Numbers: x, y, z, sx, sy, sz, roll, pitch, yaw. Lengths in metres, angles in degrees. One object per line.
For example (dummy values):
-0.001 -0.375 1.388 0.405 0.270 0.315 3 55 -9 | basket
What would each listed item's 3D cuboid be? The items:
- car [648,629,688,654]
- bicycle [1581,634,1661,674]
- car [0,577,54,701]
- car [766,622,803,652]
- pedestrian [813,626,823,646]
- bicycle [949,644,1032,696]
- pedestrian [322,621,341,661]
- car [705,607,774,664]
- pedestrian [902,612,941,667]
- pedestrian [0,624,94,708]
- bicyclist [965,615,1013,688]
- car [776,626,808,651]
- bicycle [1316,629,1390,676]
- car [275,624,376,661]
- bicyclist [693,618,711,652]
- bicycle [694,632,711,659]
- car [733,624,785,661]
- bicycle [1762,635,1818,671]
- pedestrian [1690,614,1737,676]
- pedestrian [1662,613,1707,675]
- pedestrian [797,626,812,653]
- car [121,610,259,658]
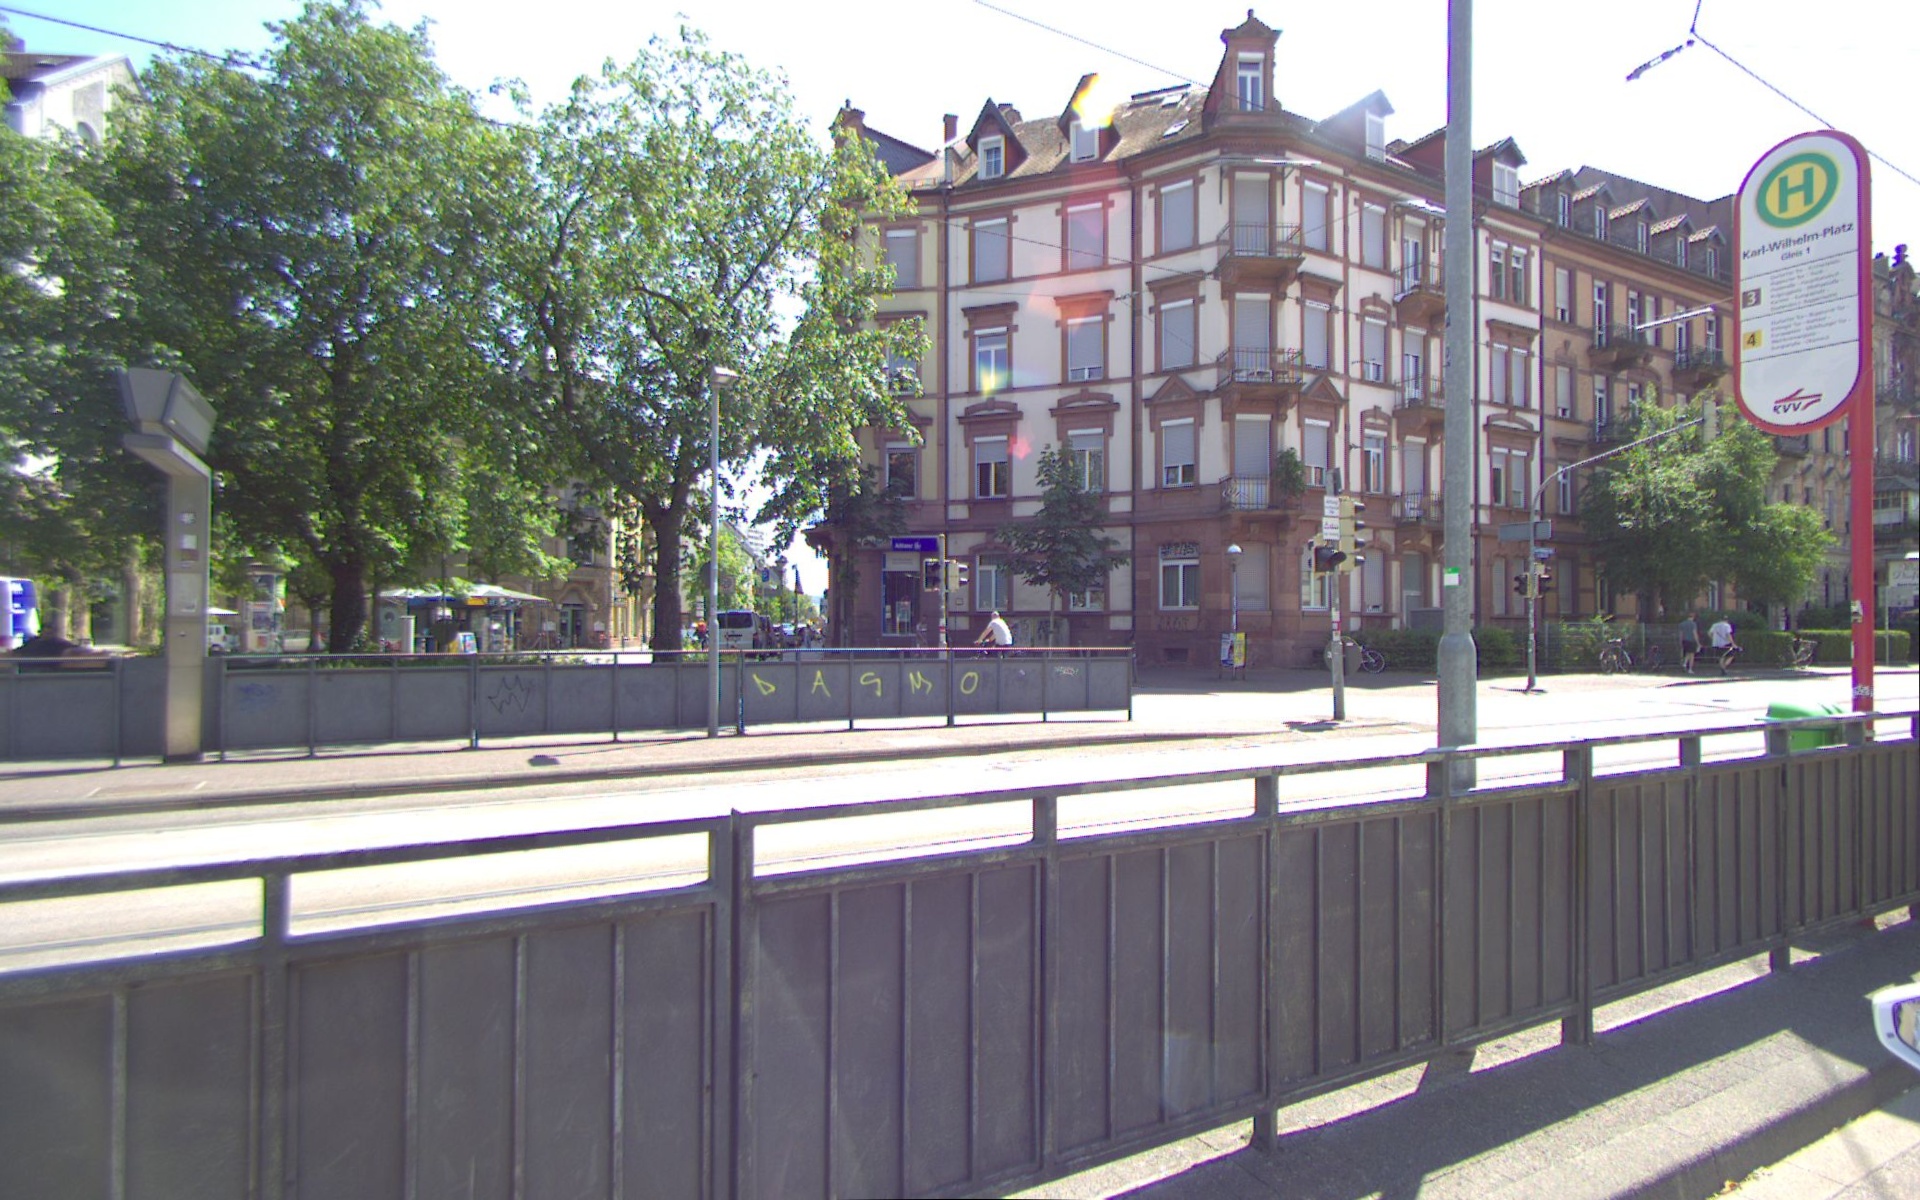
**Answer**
-20.653 2.919 71.167 1.846 1.617 3.998 2 0 -4 | car
20.234 1.647 30.719 2.742 1.151 0.932 2 0 -31 | bicycle
-23.765 0.769 21.695 5.753 2.709 2.258 2 0 -27 | car
-10.367 2.179 59.457 1.684 1.617 3.998 2 0 -4 | car
-11.697 2.990 82.777 0.742 1.632 0.688 0 -1 -4 | pedestrian
0.684 1.562 22.716 1.734 1.070 0.699 0 -1 29 | bicycle
-27.123 1.760 43.346 0.506 1.692 0.491 0 -1 -8 | pedestrian
-8.322 1.300 38.220 1.962 1.970 3.998 2 0 -4 | car
-1.211 1.253 31.739 1.041 1.712 0.722 0 -1 21 | pedestrian
-14.654 1.044 16.109 0.925 1.261 0.860 2 0 -24 | pedestrian
0.657 1.152 22.732 0.834 1.613 0.699 0 -1 29 | bicyclist
-12.476 2.846 74.761 1.962 1.617 3.998 2 0 -4 | car
11.671 1.559 29.866 1.923 1.312 0.564 2 0 11 | bicycle
-32.070 2.161 50.894 3.920 1.730 1.761 2 0 -14 | car
-12.147 1.653 47.322 0.710 1.582 0.897 1 -1 -11 | bicyclist
-12.094 2.120 47.194 0.637 1.188 1.922 1 -1 -12 | bicycle
-9.619 2.012 48.292 1.893 1.541 3.998 2 0 -4 | car
28.525 1.804 34.496 2.750 1.151 0.930 2 0 -39 | bicycle
22.768 1.341 30.347 0.862 1.847 0.813 0 1 -27 | pedestrian
22.366 1.337 31.016 0.862 1.847 0.813 0 1 -27 | pedestrian
-9.160 2.325 59.247 0.790 1.632 0.731 0 -1 -4 | pedestrian
-31.183 1.368 40.819 3.932 1.814 1.994 2 0 -14 | car
